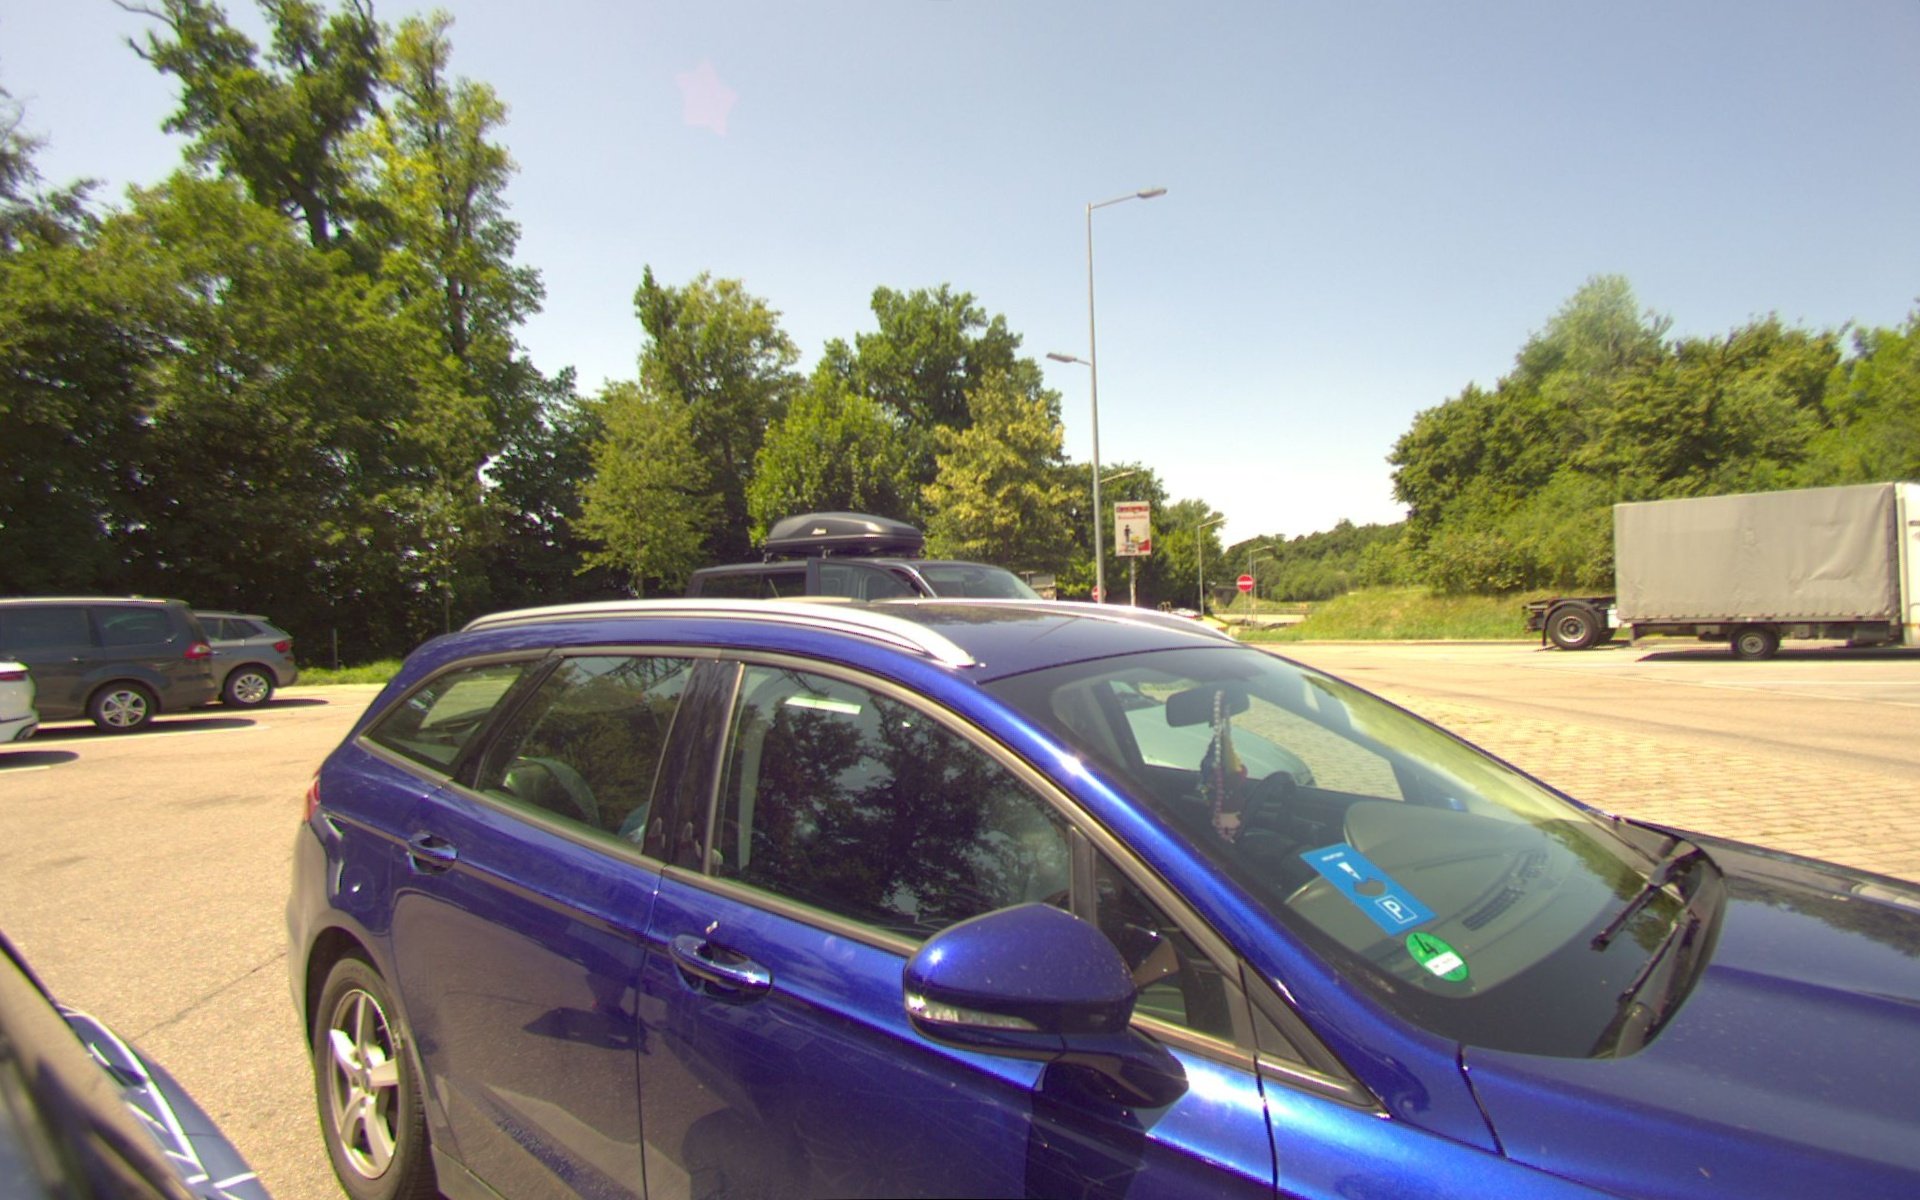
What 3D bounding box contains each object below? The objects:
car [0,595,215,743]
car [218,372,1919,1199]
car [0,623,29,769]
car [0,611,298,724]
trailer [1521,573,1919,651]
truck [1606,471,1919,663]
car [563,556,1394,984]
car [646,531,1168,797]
[{"bbox_3d":[-11.654,0.821,12.626,3.762,1.737,1.724,0,-1,-38],"label":"car"},{"bbox_3d":[0.249,0.634,2.078,4.637,1.493,1.720,-2,-1,39],"label":"car"},{"bbox_3d":[-10.995,0.931,9.162,3.767,1.396,1.722,0,-1,-44],"label":"car"},{"bbox_3d":[-12.593,0.955,15.706,3.762,1.551,1.724,0,-1,-38],"label":"car"},{"bbox_3d":[17.635,0.319,23.162,8.088,1.385,2.200,-4,-1,41],"label":"trailer"},{"bbox_3d":[16.708,-0.595,18.940,7.337,3.235,2.502,-4,-1,41],"label":"truck"},{"bbox_3d":[-0.214,0.672,5.790,4.637,1.545,1.720,-2,0,39],"label":"car"},{"bbox_3d":[-0.658,0.511,9.364,4.635,1.884,1.937,-2,0,37],"label":"car"}]
